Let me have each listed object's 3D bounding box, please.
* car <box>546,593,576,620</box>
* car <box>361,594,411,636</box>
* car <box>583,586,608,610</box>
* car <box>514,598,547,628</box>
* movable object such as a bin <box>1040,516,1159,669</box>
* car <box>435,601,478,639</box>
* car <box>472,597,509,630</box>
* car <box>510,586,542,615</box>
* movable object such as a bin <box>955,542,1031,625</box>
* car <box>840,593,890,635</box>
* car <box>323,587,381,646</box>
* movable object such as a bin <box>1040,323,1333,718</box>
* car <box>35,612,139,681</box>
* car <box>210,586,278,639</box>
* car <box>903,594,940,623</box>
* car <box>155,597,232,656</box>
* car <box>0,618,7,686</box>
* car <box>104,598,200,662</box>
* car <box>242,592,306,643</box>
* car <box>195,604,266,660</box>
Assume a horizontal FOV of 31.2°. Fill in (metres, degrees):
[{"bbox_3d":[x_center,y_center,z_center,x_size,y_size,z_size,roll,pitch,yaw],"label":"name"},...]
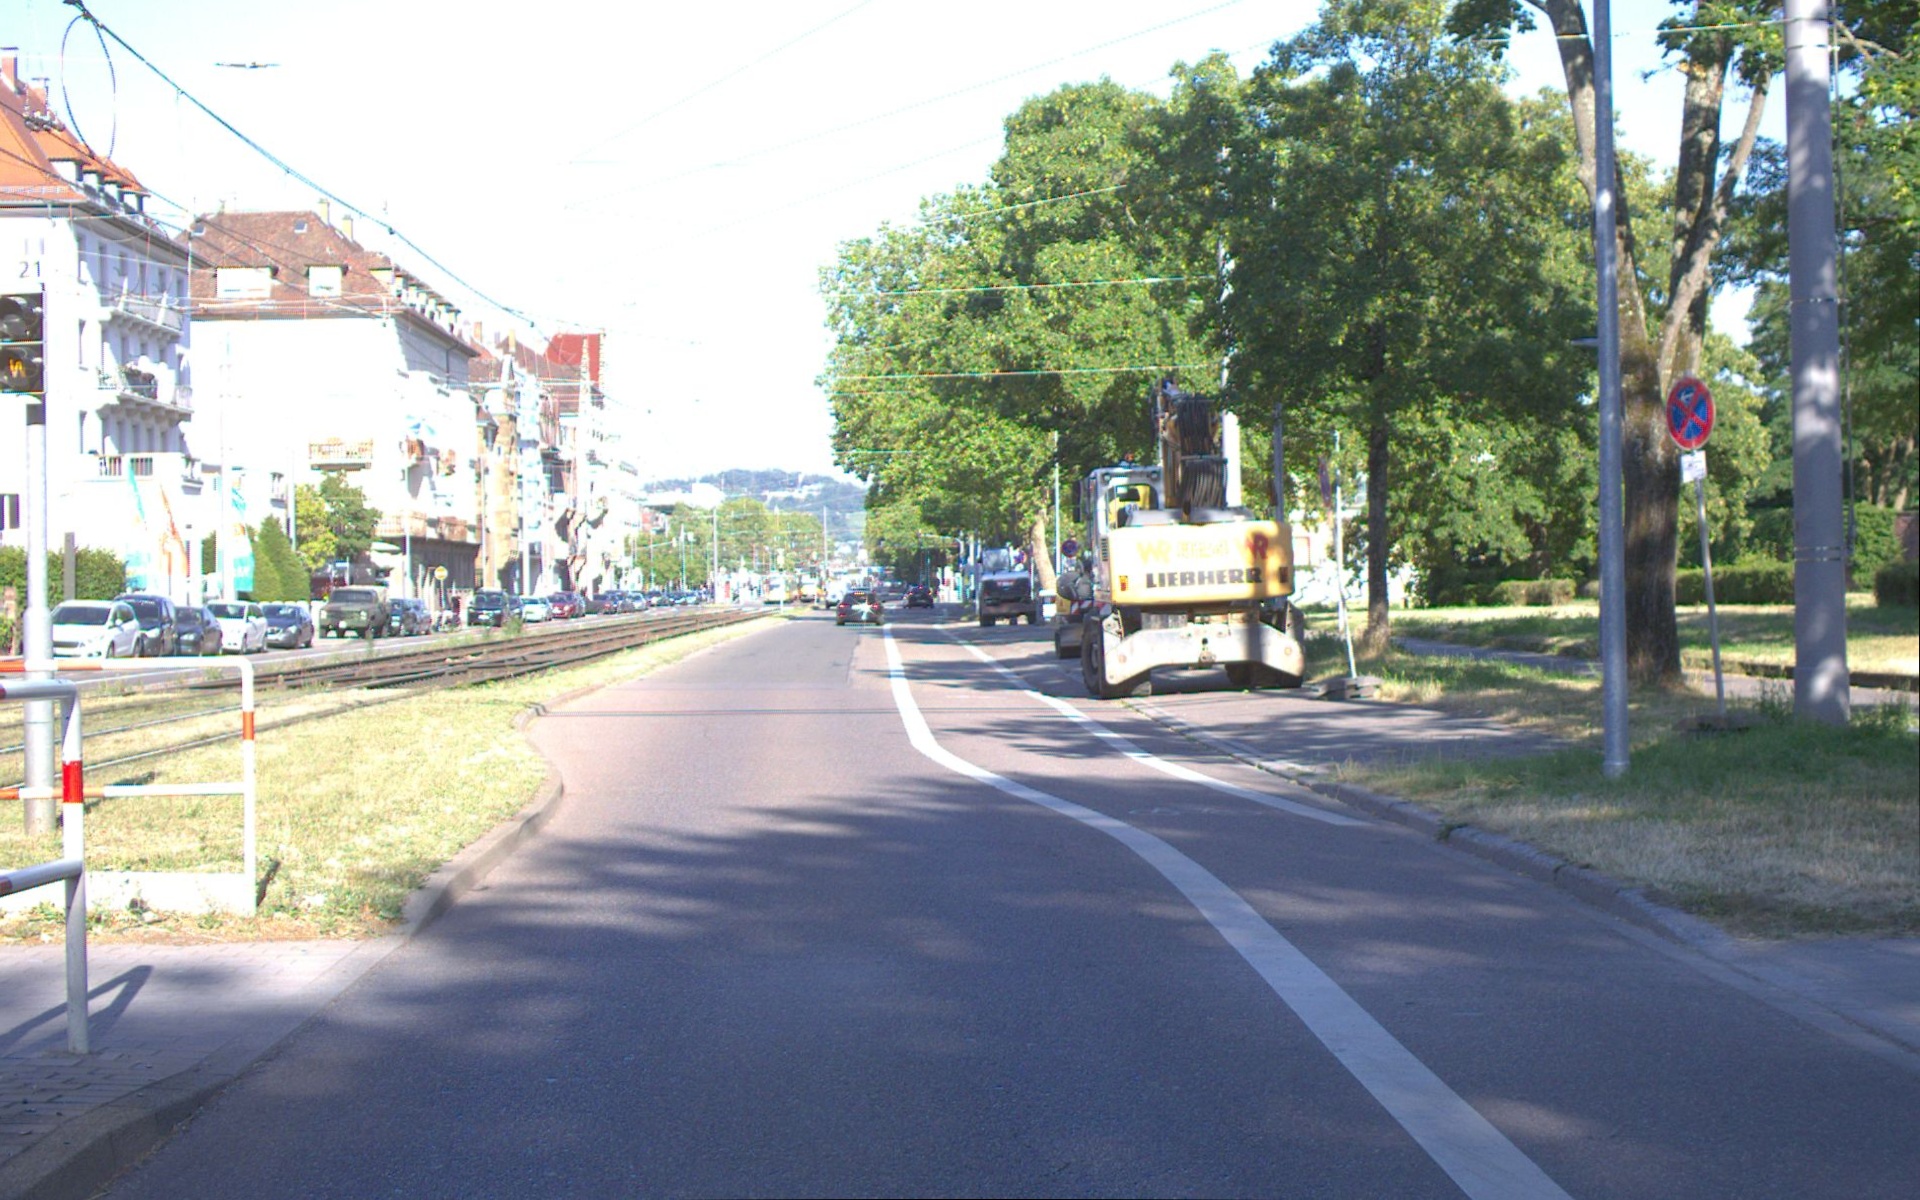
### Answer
[{"bbox_3d":[-24.668,0.408,212.724,1.526,1.605,3.224,1,1,-2],"label":"car"},{"bbox_3d":[-22.833,0.596,136.851,1.526,1.555,3.224,1,1,-2],"label":"car"},{"bbox_3d":[-25.821,-0.114,243.740,1.526,1.605,3.224,1,1,-2],"label":"car"},{"bbox_3d":[-23.903,0.740,191.463,1.526,1.555,3.224,1,1,-2],"label":"car"},{"bbox_3d":[2.907,-0.163,72.481,1.968,3.003,4.797,-4,0,-2],"label":"movable object such as a bin"},{"bbox_3d":[-22.215,0.860,151.763,1.526,1.555,3.224,1,1,-2],"label":"car"},{"bbox_3d":[-23.836,0.671,174.527,1.526,1.555,3.224,1,1,-2],"label":"car"},{"bbox_3d":[-25.286,0.008,200.293,1.526,1.605,3.224,1,1,-2],"label":"car"},{"bbox_3d":[1.190,-0.606,127.772,2.466,2.896,4.000,-4,0,-2],"label":"movable object such as a bin"},{"bbox_3d":[-3.910,0.551,141.273,1.993,1.678,4.000,1,0,-1],"label":"car"},{"bbox_3d":[-23.120,0.601,130.841,1.658,2.132,3.526,1,1,-2],"label":"car"},{"bbox_3d":[3.119,-1.076,50.223,3.087,5.071,8.892,-4,0,-2],"label":"movable object such as a bin"},{"bbox_3d":[-21.803,1.140,85.965,1.741,1.555,3.768,1,1,-2],"label":"car"},{"bbox_3d":[-22.210,0.377,106.741,1.526,1.555,3.224,1,1,-2],"label":"car"},{"bbox_3d":[-2.576,0.546,230.881,1.993,1.853,4.001,1,0,-8],"label":"car"},{"bbox_3d":[-21.440,0.725,96.271,1.526,1.555,3.224,1,1,-2],"label":"car"},{"bbox_3d":[-21.520,1.153,73.120,1.562,1.452,3.665,1,1,-2],"label":"car"},{"bbox_3d":[-21.298,0.776,90.729,1.741,1.555,3.768,1,1,-2],"label":"car"},{"bbox_3d":[-22.275,0.558,111.691,1.526,1.555,3.224,1,1,-2],"label":"car"},{"bbox_3d":[-21.793,0.948,102.806,1.526,1.555,3.224,1,1,-2],"label":"car"}]
